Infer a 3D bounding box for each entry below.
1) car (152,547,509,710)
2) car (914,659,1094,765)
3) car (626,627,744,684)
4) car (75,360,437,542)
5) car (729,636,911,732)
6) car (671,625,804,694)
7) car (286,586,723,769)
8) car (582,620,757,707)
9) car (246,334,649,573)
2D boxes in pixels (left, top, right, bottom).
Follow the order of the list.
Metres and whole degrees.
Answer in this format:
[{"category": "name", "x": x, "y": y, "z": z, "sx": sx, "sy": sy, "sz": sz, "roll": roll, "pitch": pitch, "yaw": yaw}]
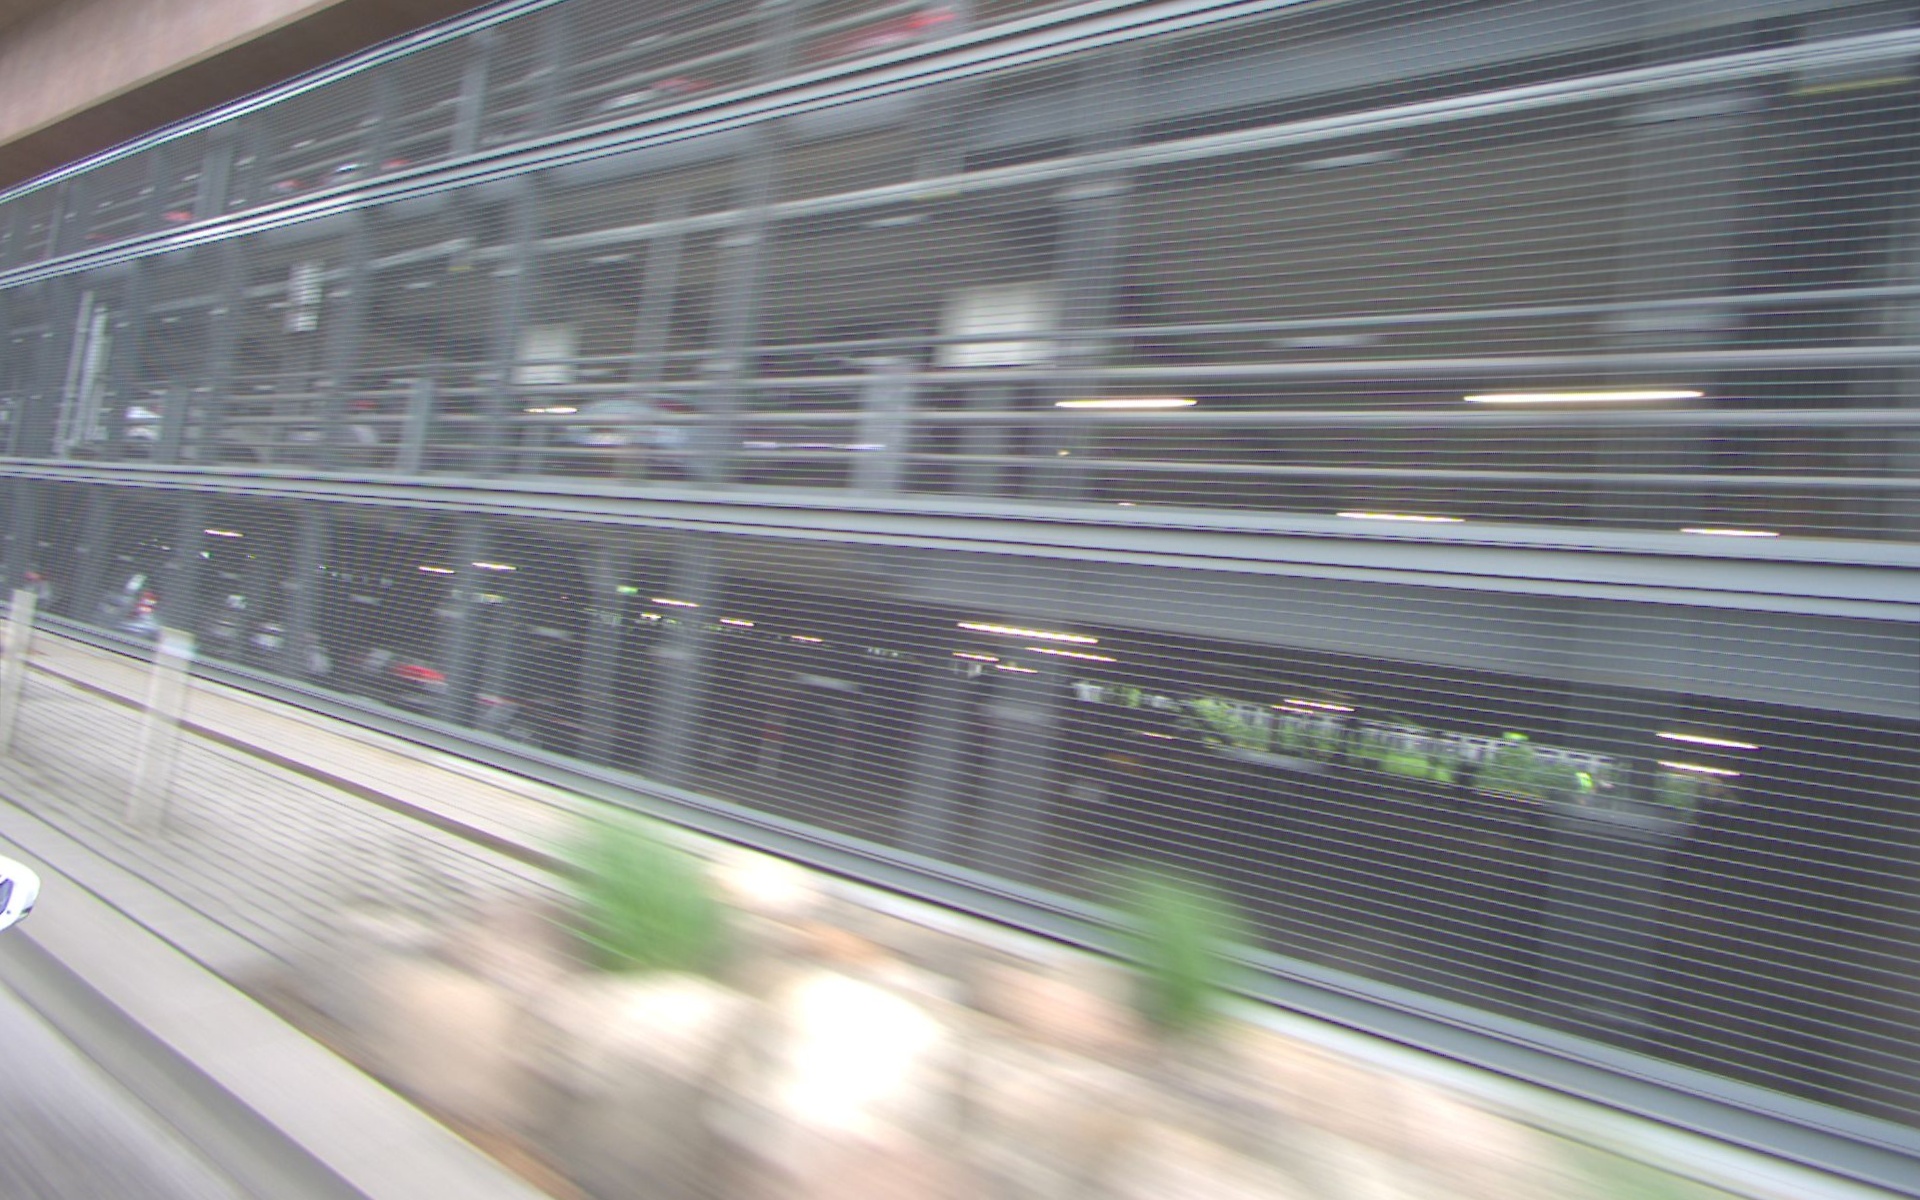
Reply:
[{"category": "car", "x": -8.530, "y": 0.483, "z": 13.947, "sx": 1.697, "sy": 1.636, "sz": 3.654, "roll": 7, "pitch": -4, "yaw": 31}, {"category": "car", "x": 0.988, "y": 2.286, "z": 19.966, "sx": 1.693, "sy": 1.632, "sz": 4.000, "roll": 7, "pitch": -4, "yaw": 31}, {"category": "car", "x": -8.895, "y": 1.833, "z": 32.778, "sx": 1.485, "sy": 1.329, "sz": 3.478, "roll": 7, "pitch": -4, "yaw": 31}, {"category": "car", "x": -10.548, "y": -2.154, "z": 15.374, "sx": 1.802, "sy": 1.675, "sz": 3.996, "roll": 8, "pitch": -3, "yaw": 34}, {"category": "car", "x": -3.077, "y": 1.959, "z": 22.895, "sx": 1.804, "sy": 1.632, "sz": 4.000, "roll": 7, "pitch": -4, "yaw": 31}, {"category": "car", "x": -6.792, "y": 1.857, "z": 31.031, "sx": 1.792, "sy": 1.553, "sz": 3.653, "roll": 7, "pitch": -4, "yaw": 31}, {"category": "car", "x": -4.818, "y": 0.976, "z": 11.246, "sx": 1.780, "sy": 1.481, "sz": 4.000, "roll": 7, "pitch": -4, "yaw": 31}, {"category": "car", "x": -7.308, "y": 1.676, "z": 25.698, "sx": 1.694, "sy": 1.632, "sz": 3.999, "roll": 7, "pitch": -4, "yaw": 33}, {"category": "car", "x": -6.193, "y": -1.674, "z": 12.646, "sx": 1.703, "sy": 1.887, "sz": 3.998, "roll": 8, "pitch": -3, "yaw": 32}]
